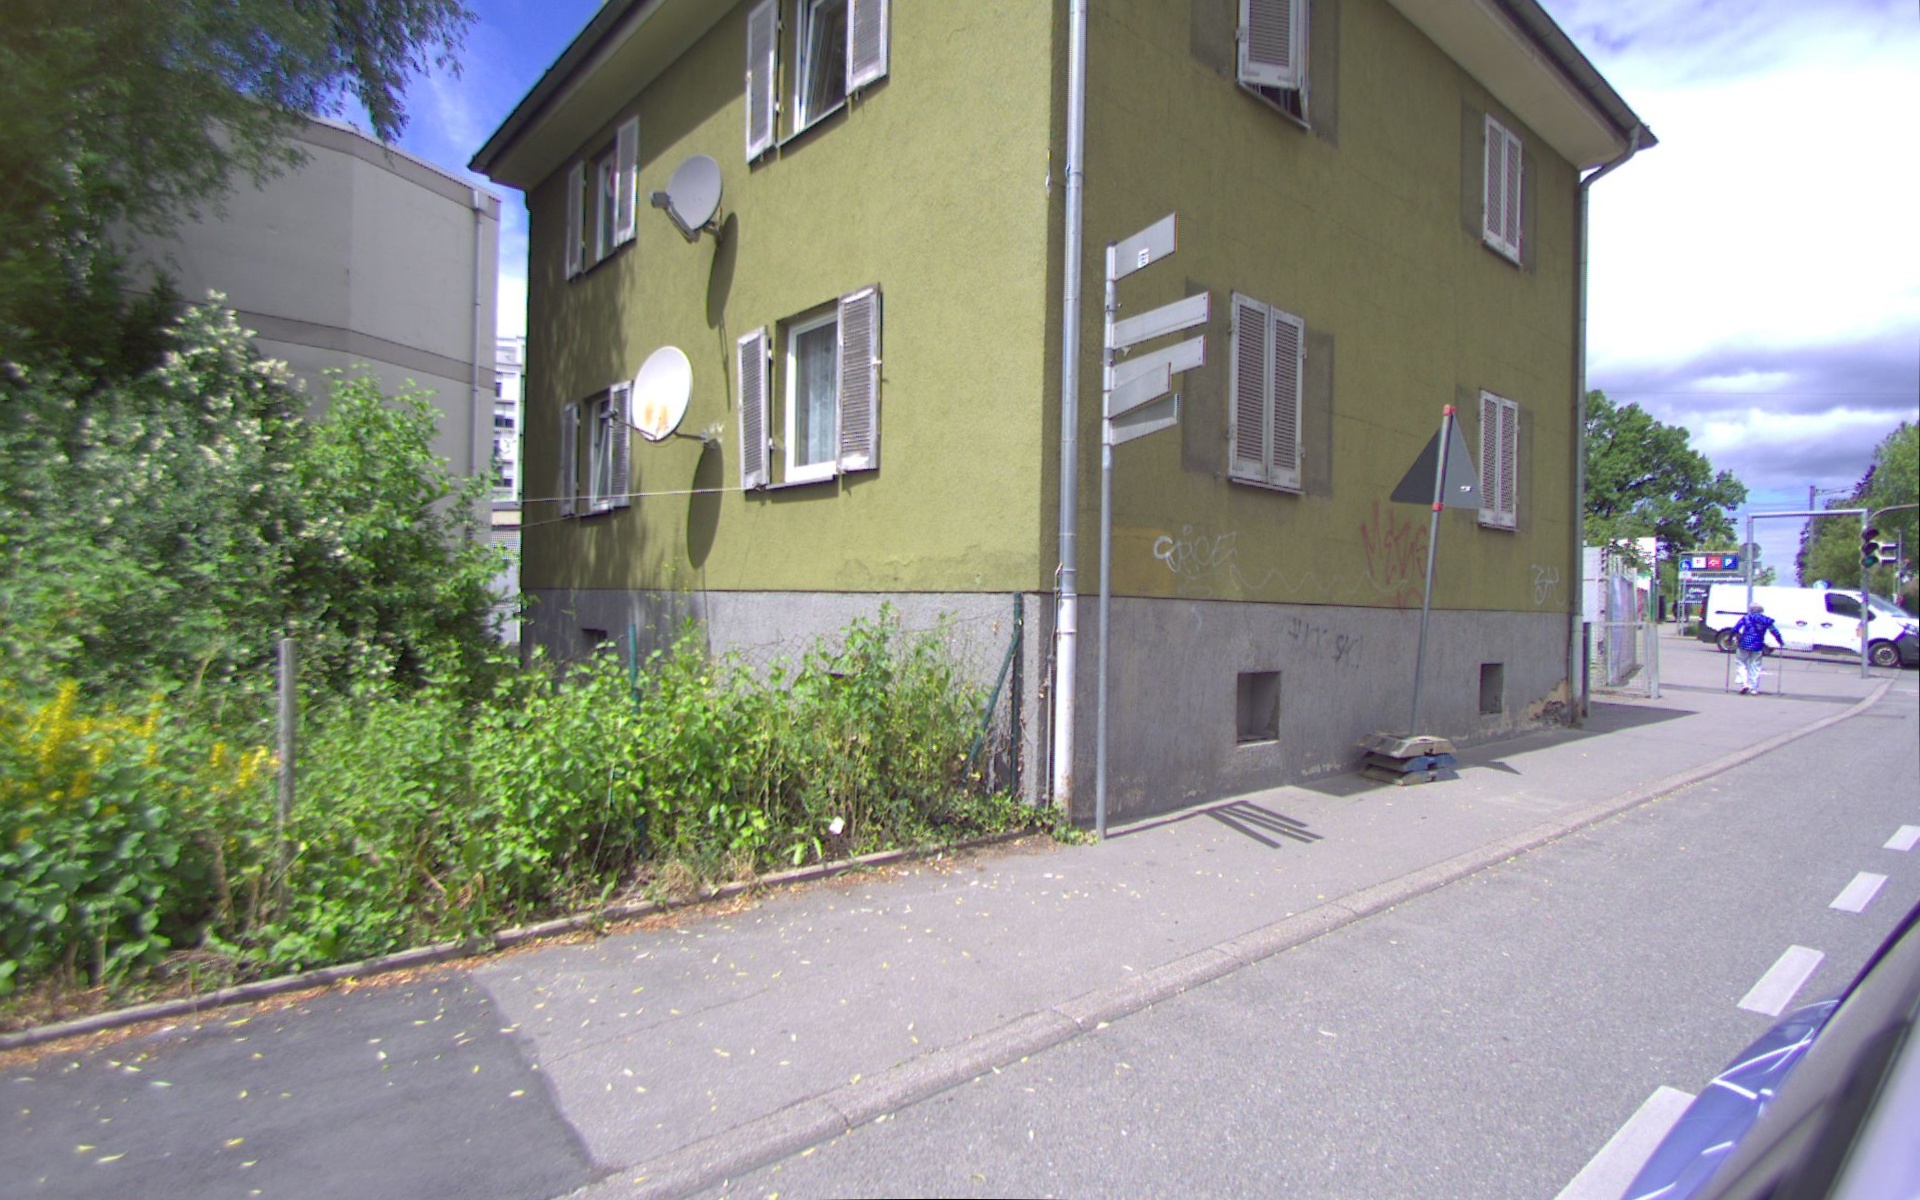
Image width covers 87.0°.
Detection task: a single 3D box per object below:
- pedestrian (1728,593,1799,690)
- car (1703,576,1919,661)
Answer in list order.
[{"bbox_3d":[13.778,0.682,17.357,0.824,1.591,0.972,2,1,44],"label":"pedestrian"},{"bbox_3d":[23.508,0.419,27.222,1.958,2.048,5.362,1,1,-25],"label":"car"}]
